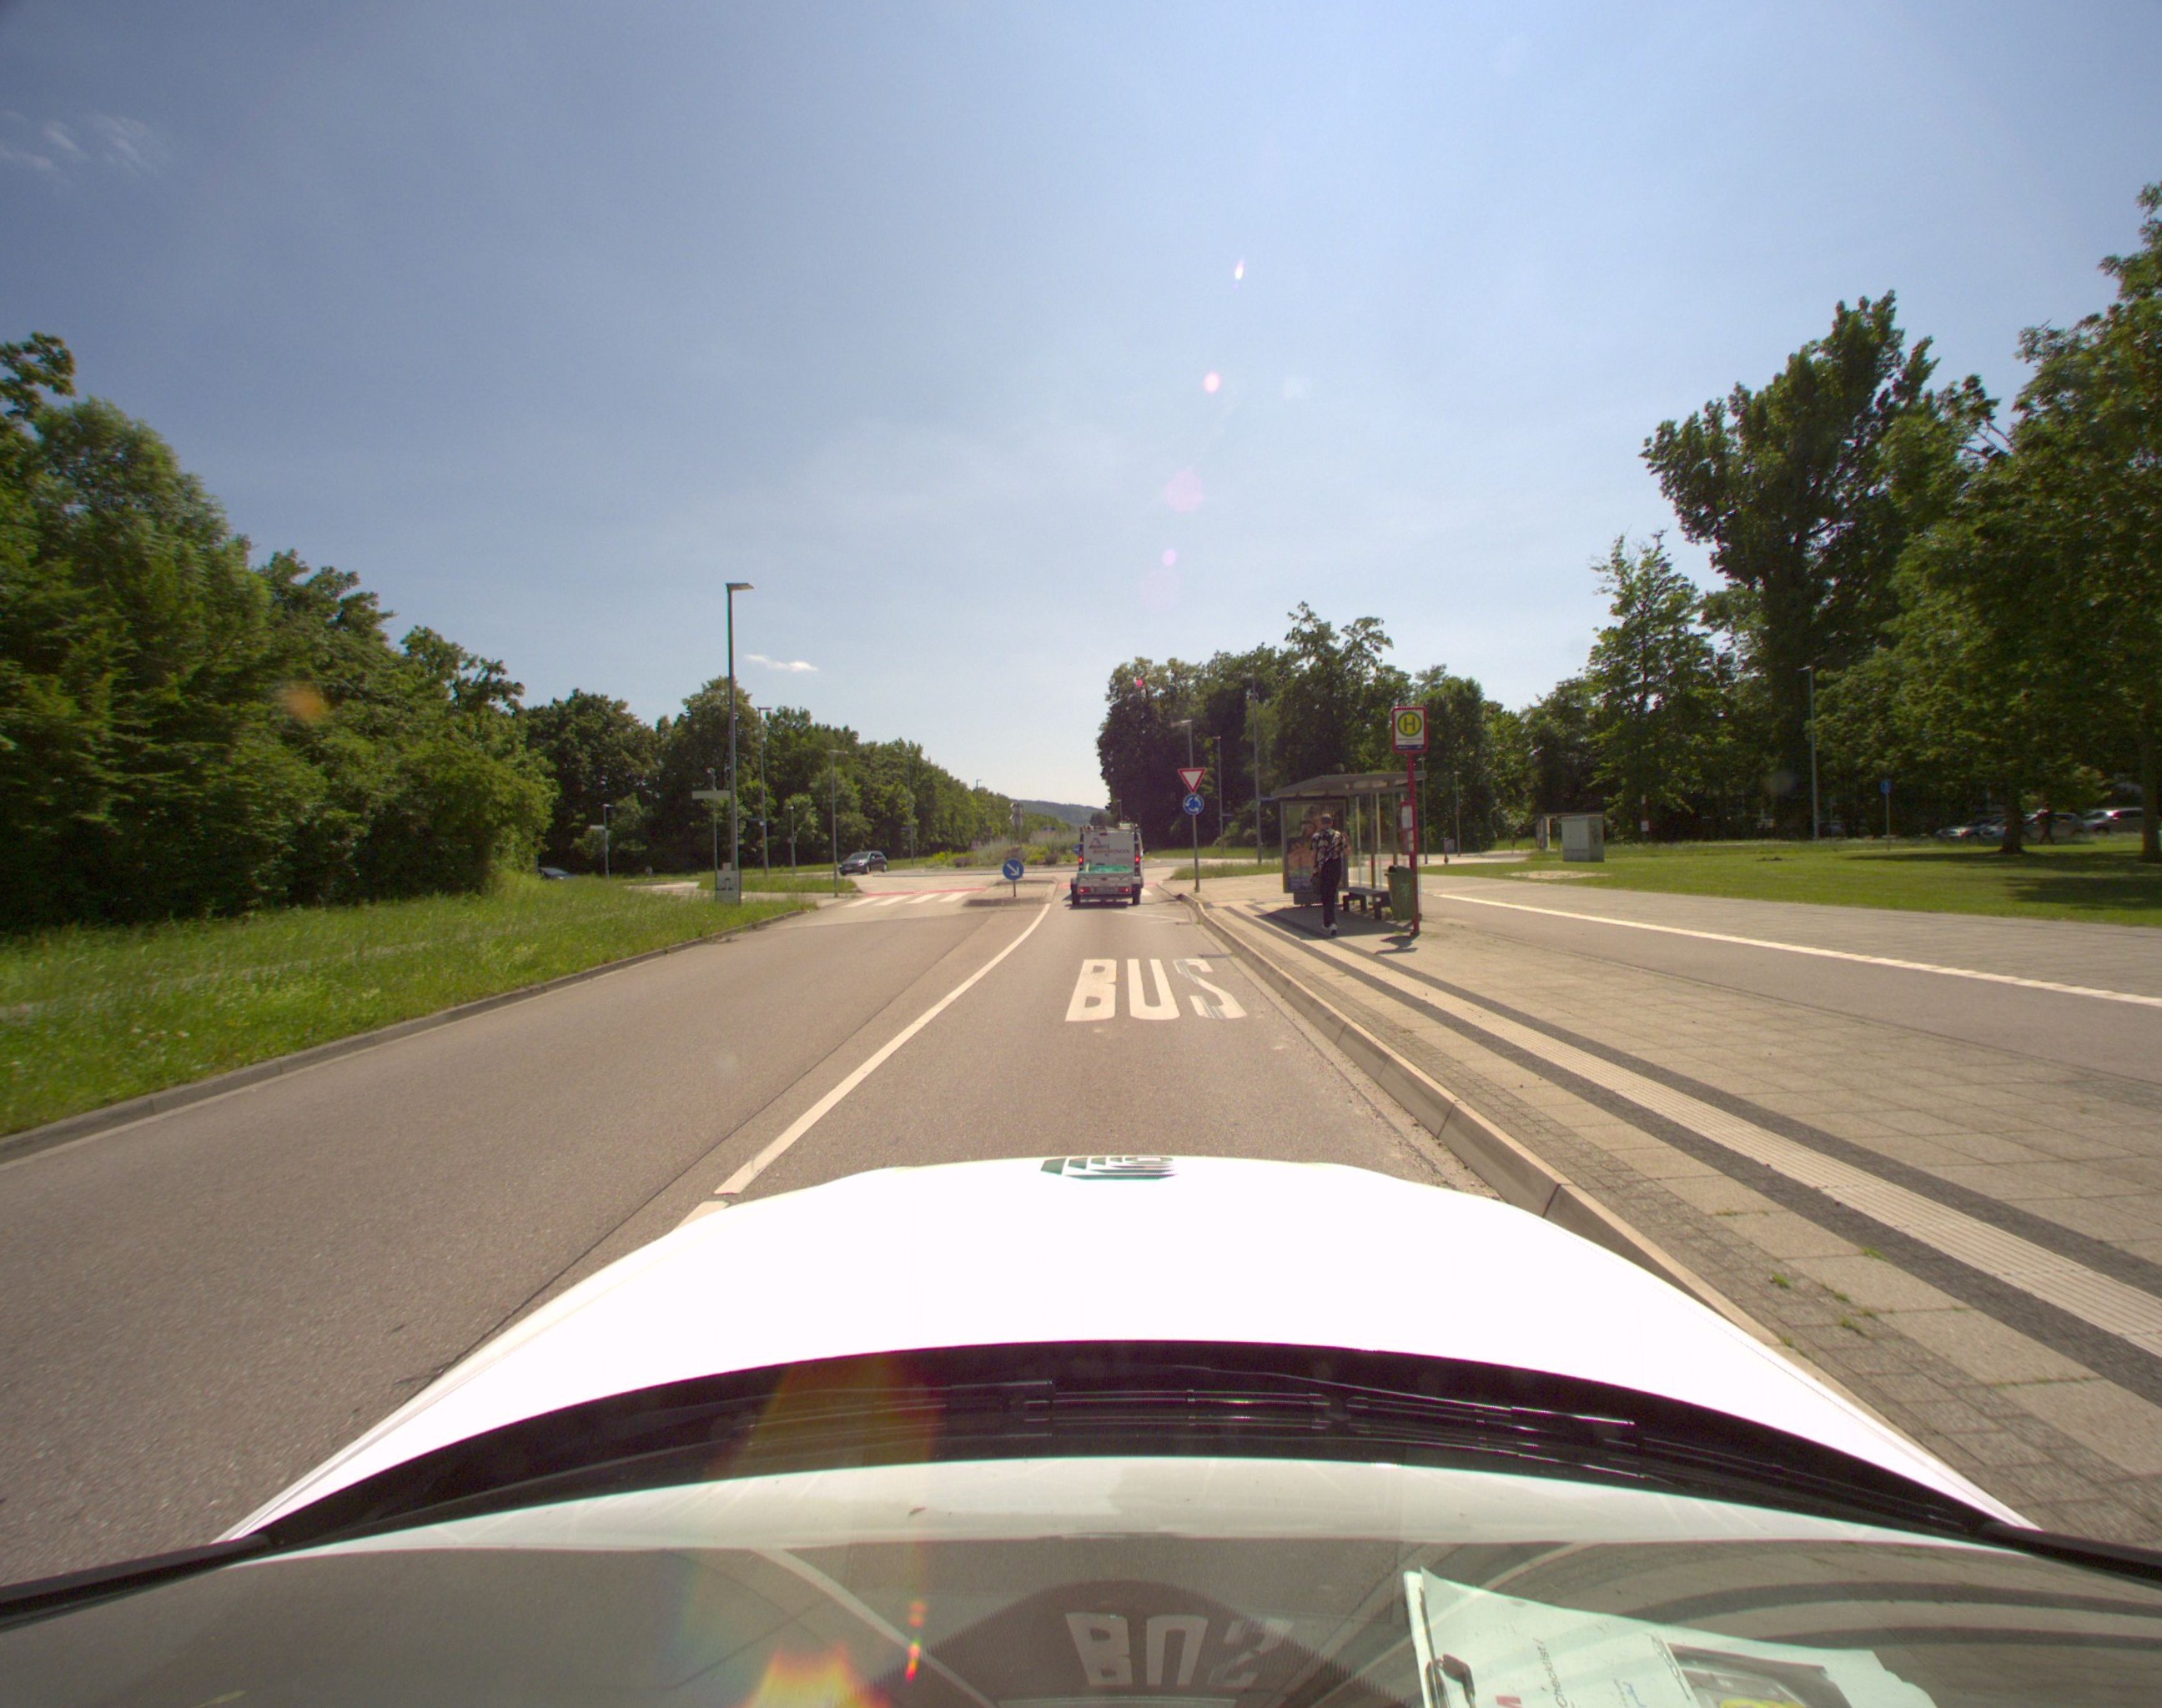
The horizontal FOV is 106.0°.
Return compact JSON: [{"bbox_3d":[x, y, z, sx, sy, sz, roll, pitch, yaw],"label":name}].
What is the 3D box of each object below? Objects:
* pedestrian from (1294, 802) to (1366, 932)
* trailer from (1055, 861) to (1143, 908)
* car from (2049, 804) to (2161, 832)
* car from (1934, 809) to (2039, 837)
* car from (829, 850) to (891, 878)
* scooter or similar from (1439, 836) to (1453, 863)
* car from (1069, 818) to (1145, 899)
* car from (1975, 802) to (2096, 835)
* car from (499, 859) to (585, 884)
[{"bbox_3d":[3.676,0.182,12.082,0.705,1.822,0.827,-4,0,1],"label":"pedestrian"},{"bbox_3d":[0.572,0.773,22.038,2.111,1.097,3.360,-1,0,5],"label":"trailer"},{"bbox_3d":[58.335,-2.048,46.412,3.759,1.416,1.888,-1,0,8],"label":"car"},{"bbox_3d":[52.158,-1.819,46.971,3.967,1.485,1.706,-1,3,5],"label":"car"},{"bbox_3d":[-13.982,0.579,51.849,1.980,1.478,4.303,-3,1,11],"label":"car"},{"bbox_3d":[17.041,-0.221,38.011,0.442,1.201,1.407,-1,0,28],"label":"scooter or similar"},{"bbox_3d":[0.949,0.122,26.162,2.156,2.316,4.987,-1,0,4],"label":"car"},{"bbox_3d":[51.599,-1.912,44.110,4.090,1.606,1.795,-1,0,8],"label":"car"},{"bbox_3d":[-34.928,1.134,52.822,4.517,1.494,1.965,-1,0,11],"label":"car"}]
